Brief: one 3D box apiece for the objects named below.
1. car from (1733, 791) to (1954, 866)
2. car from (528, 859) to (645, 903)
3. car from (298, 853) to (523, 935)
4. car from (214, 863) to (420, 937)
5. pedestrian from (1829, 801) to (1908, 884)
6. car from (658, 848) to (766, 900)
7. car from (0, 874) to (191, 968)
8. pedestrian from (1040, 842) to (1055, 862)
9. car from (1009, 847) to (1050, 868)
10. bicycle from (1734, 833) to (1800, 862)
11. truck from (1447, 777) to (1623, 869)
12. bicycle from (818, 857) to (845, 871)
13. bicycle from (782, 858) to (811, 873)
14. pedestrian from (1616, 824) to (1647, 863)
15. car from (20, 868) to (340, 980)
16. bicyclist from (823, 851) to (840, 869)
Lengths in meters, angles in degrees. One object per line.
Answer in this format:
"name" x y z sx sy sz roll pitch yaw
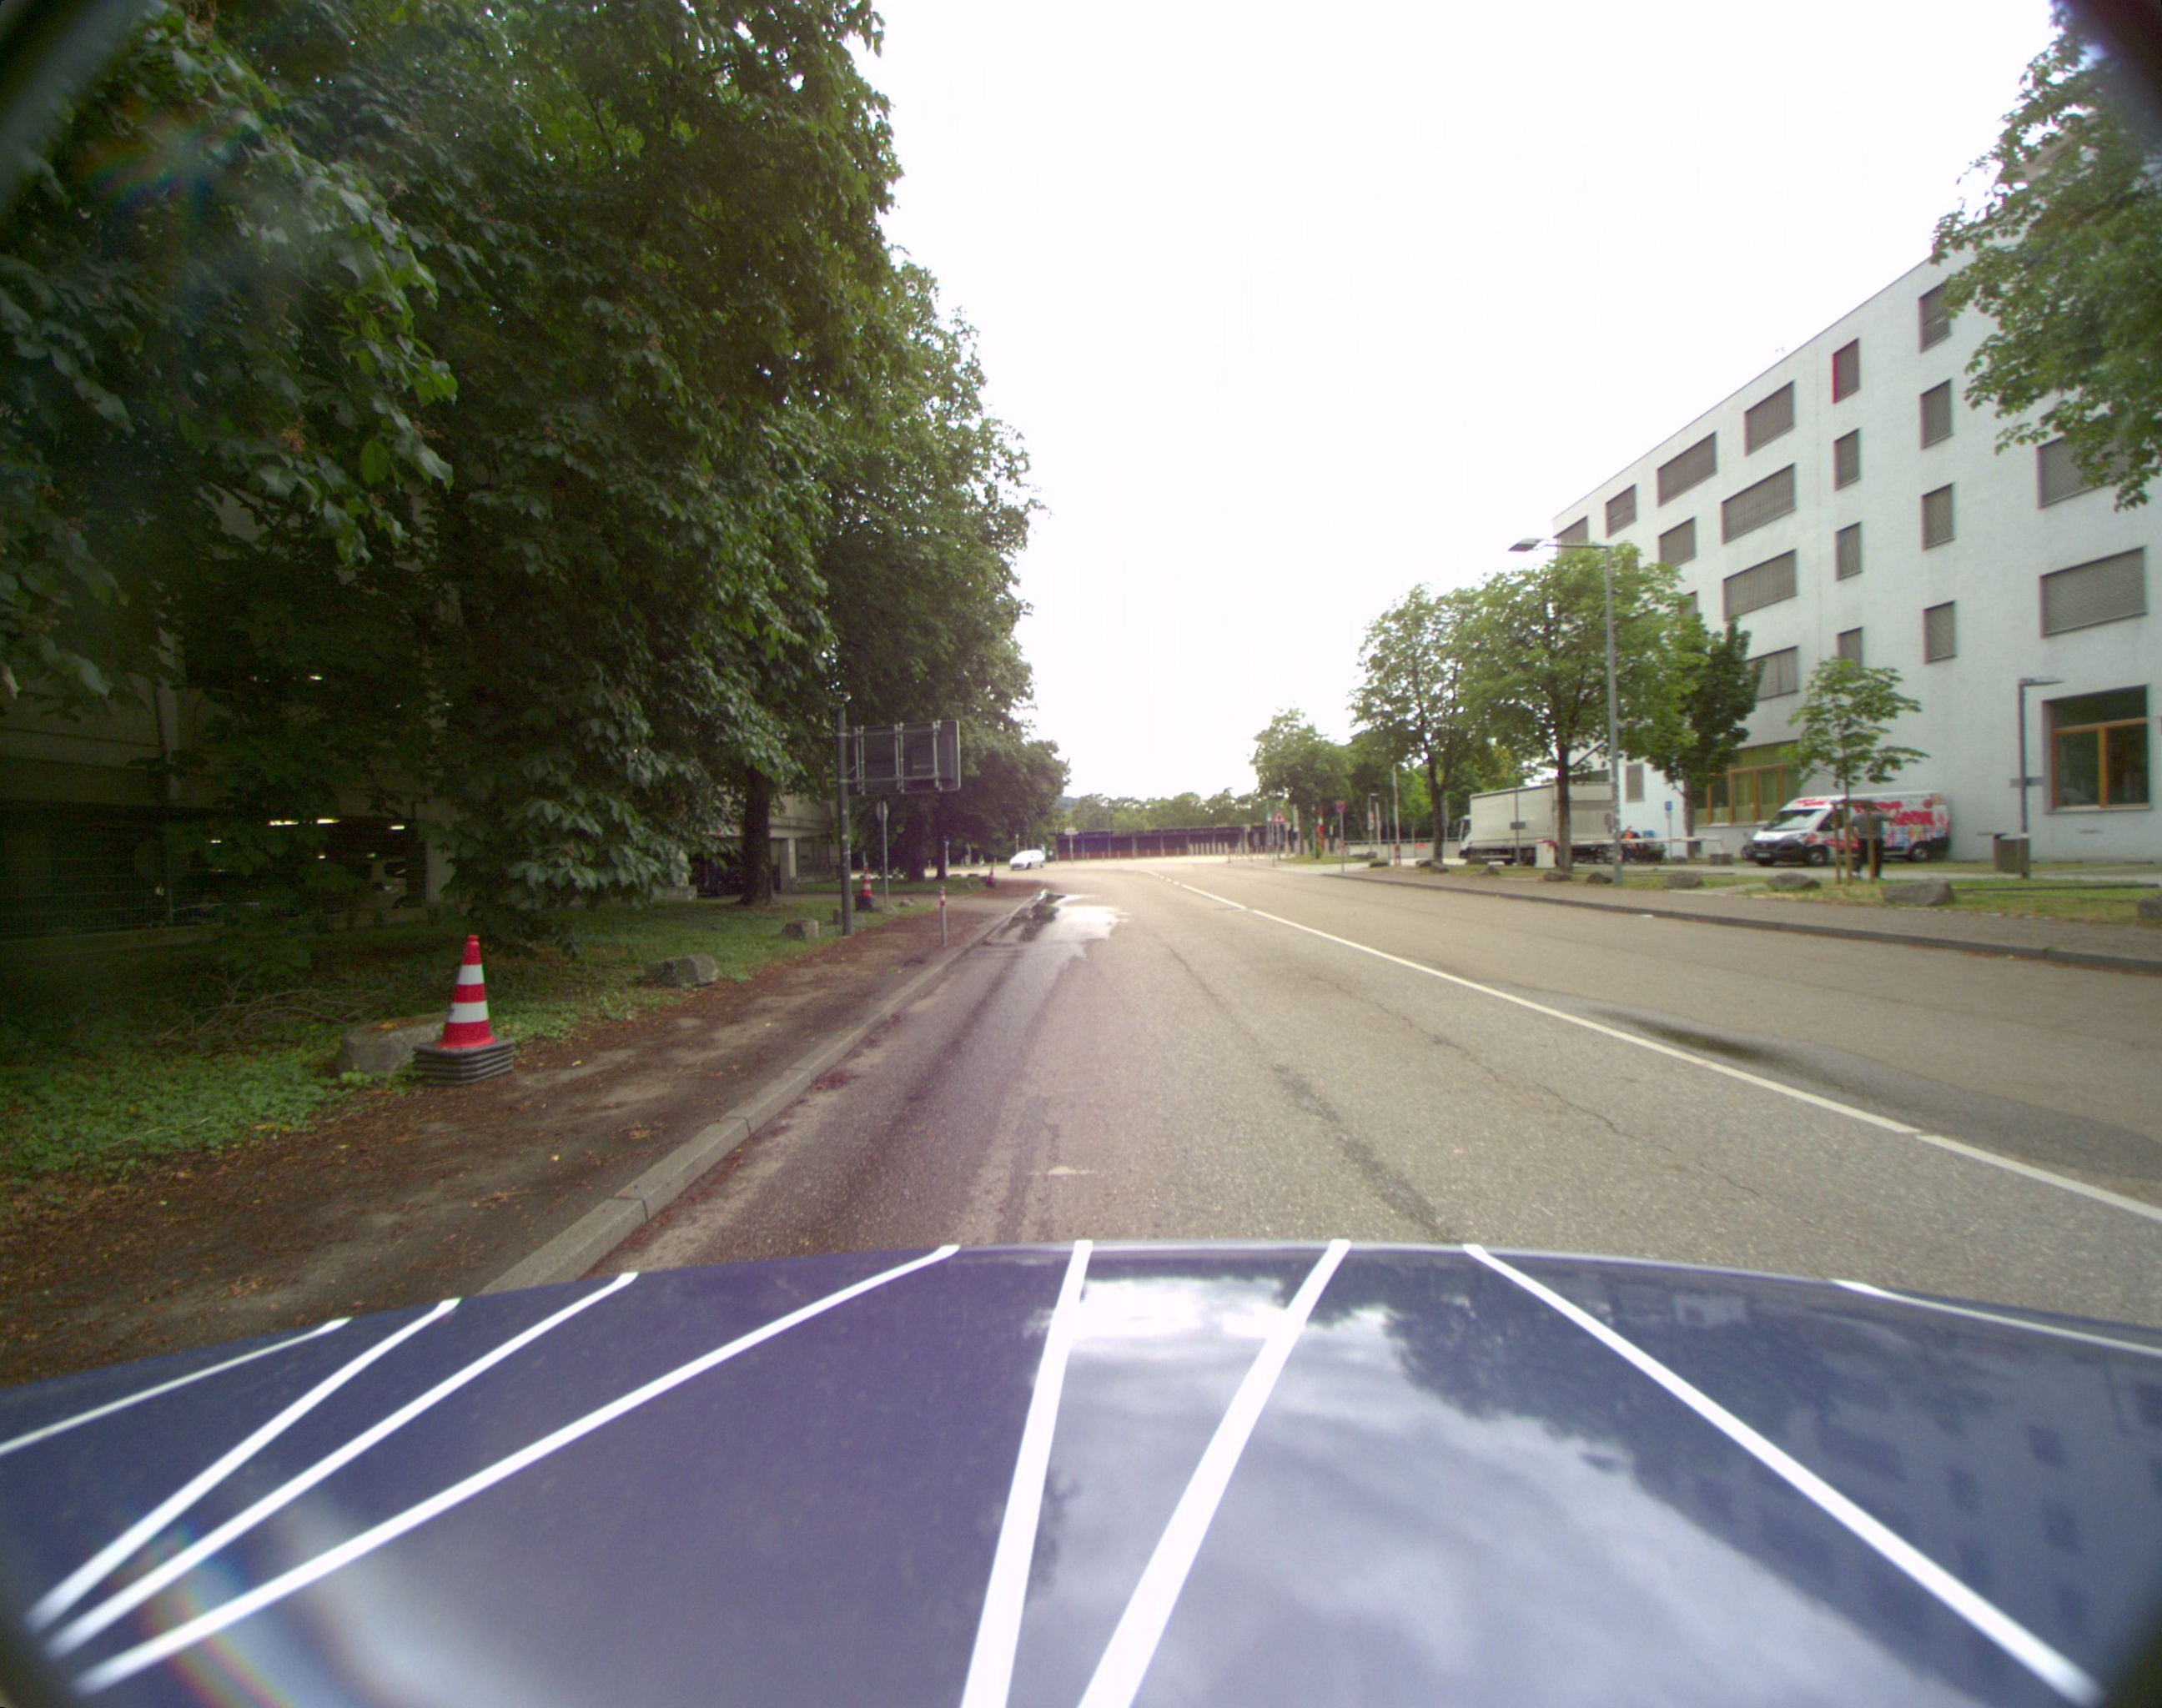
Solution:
"car" 26.597 -0.885 26.647 5.640 2.266 2.078 -3 2 0
"car" -20.016 1.055 30.984 1.876 1.445 4.000 -3 2 4
"car" -17.256 0.918 19.950 1.589 1.699 4.666 -3 2 1
"car" -20.272 1.153 20.411 1.721 1.577 3.690 -3 2 -1
"pedestrian" 16.649 -0.244 16.073 0.845 1.662 0.786 -3 2 -4
"car" -14.664 0.741 30.571 1.924 1.824 4.735 -3 1 0
"car" -20.379 1.307 14.766 1.721 1.537 3.700 -3 2 -1
"pedestrian" -3.226 -0.164 72.841 1.200 1.824 0.927 -3 3 4
"car" -4.113 0.238 61.419 1.603 1.448 3.508 -2 2 29
"bicycle" 27.612 -0.279 30.588 2.029 1.064 0.613 -3 2 4
"truck" 20.355 -1.360 34.840 2.684 3.580 8.361 -3 2 -2
"bicycle" -22.467 0.883 68.474 2.050 1.137 0.777 -3 3 -1
"bicycle" -25.541 1.029 68.249 2.257 1.117 0.748 -3 2 -3
"pedestrian" 23.354 -0.451 32.250 0.680 1.597 0.885 -5 3 -38
"car" -17.481 1.251 15.084 1.589 1.699 3.856 -3 2 1
"bicyclist" -22.489 0.535 68.460 1.101 1.487 0.927 -3 3 -1
